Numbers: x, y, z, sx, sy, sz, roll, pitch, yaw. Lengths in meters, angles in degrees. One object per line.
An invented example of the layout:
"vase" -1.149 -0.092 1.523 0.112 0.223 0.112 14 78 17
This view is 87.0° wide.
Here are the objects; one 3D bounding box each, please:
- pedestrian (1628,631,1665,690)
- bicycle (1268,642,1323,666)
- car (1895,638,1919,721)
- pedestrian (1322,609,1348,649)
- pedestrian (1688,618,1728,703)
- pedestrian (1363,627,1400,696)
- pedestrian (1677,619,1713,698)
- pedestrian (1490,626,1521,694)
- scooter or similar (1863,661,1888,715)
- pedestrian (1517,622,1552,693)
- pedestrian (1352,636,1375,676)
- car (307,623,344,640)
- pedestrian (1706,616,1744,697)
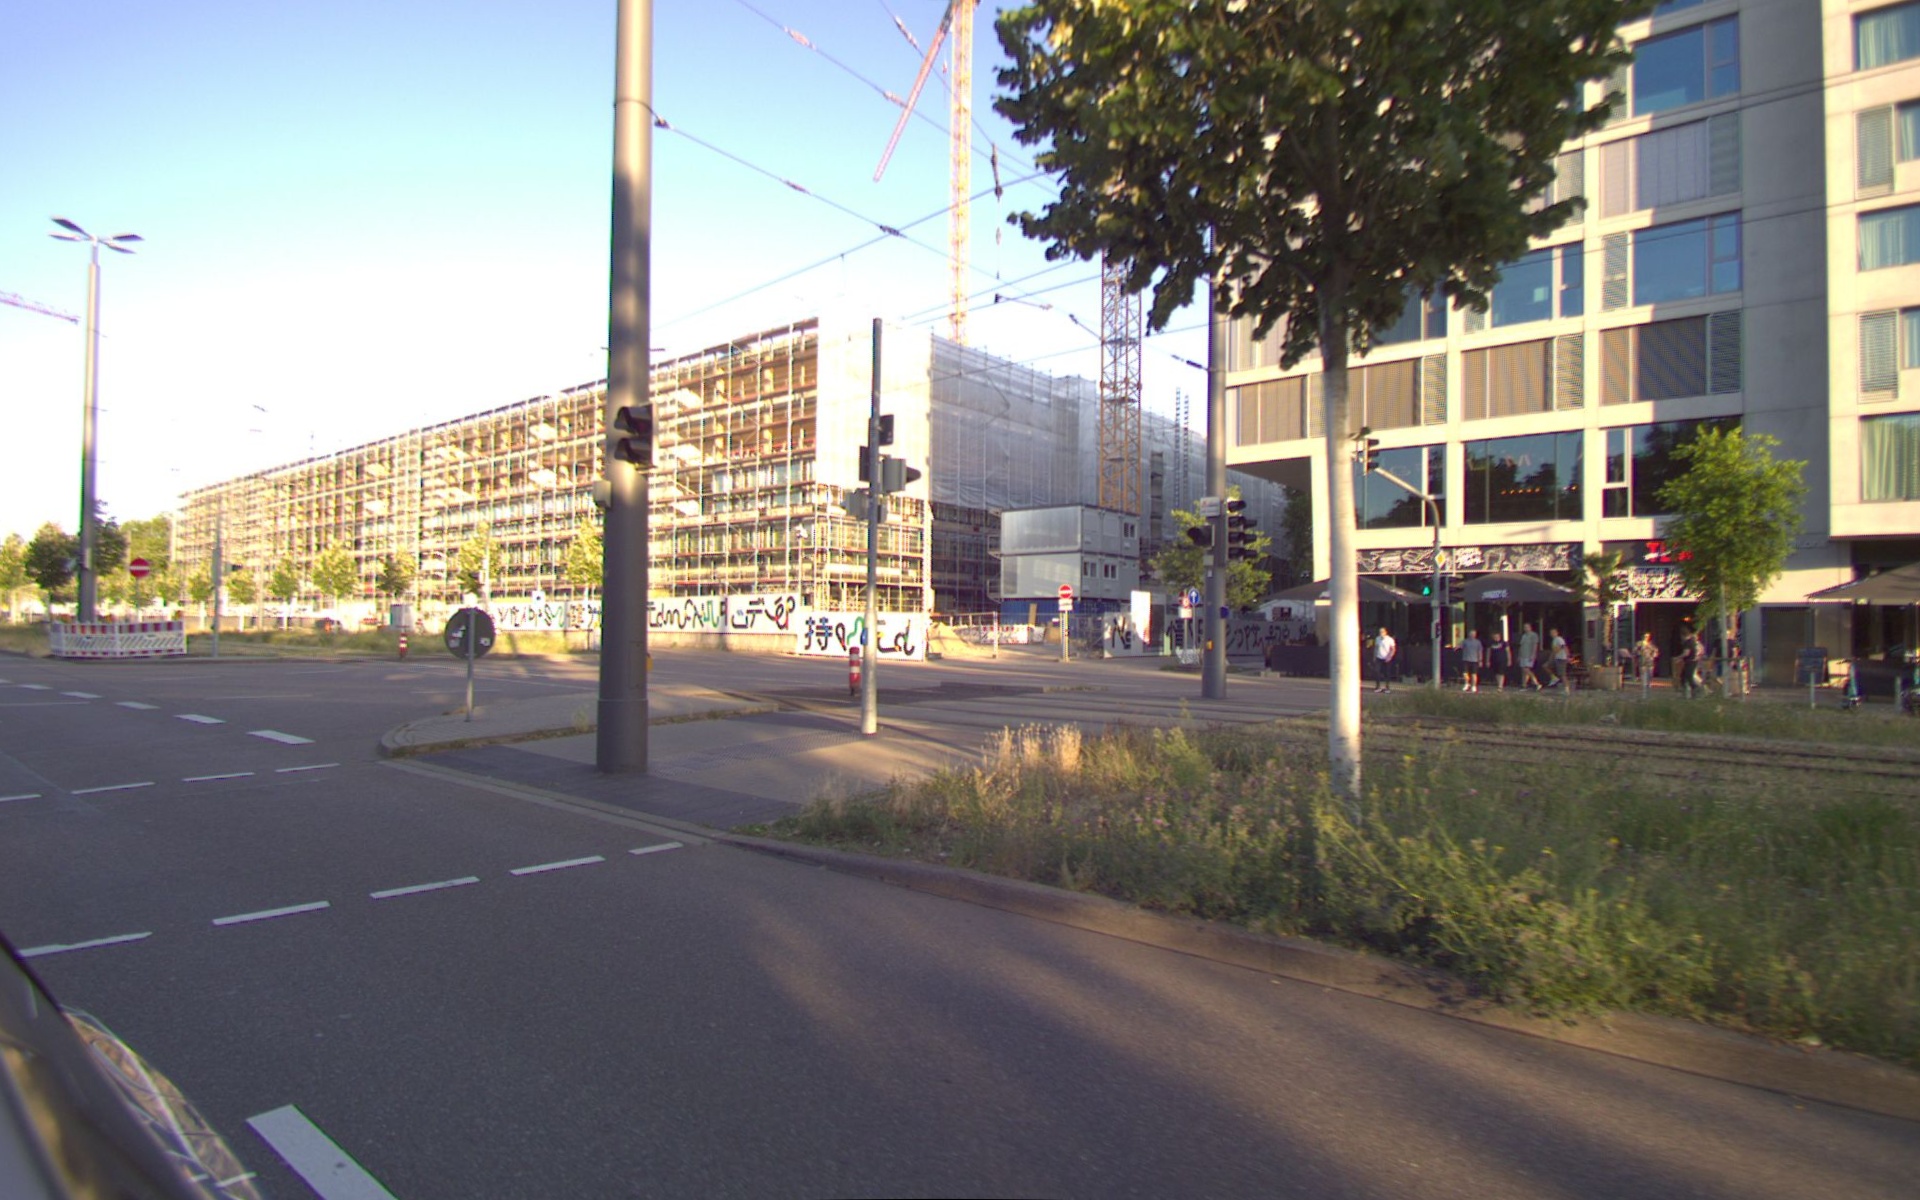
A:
"pedestrian" 19.328 1.695 28.494 0.671 1.616 0.709 -1 0 -44
"bicycle" 12.946 2.073 39.040 1.975 0.881 0.390 -3 -2 38
"car" 19.037 1.451 17.369 4.218 1.451 1.867 -1 -5 38
"pedestrian" 13.986 1.081 37.711 0.772 1.473 0.598 -1 -3 39
"pedestrian" 18.019 1.448 24.377 0.494 2.029 0.553 1 -2 -9
"pedestrian" 11.683 1.688 28.047 0.762 1.850 0.699 -1 0 38
"pedestrian" 19.088 1.510 26.284 0.494 2.029 0.553 1 -2 -9
"pedestrian" 15.244 1.662 28.282 0.680 1.850 0.699 0 1 38
"scooter or similar" 20.580 1.964 22.750 0.338 1.093 0.962 3 2 39
"pedestrian" 16.137 1.586 28.433 0.708 1.938 0.672 -1 0 41
"pedestrian" 14.823 2.054 37.141 0.768 1.425 0.601 0 -2 23
"car" -57.534 2.842 91.705 4.066 1.466 1.646 -1 -4 41
"pedestrian" 19.371 1.415 25.638 0.494 2.029 0.553 1 -2 -9
